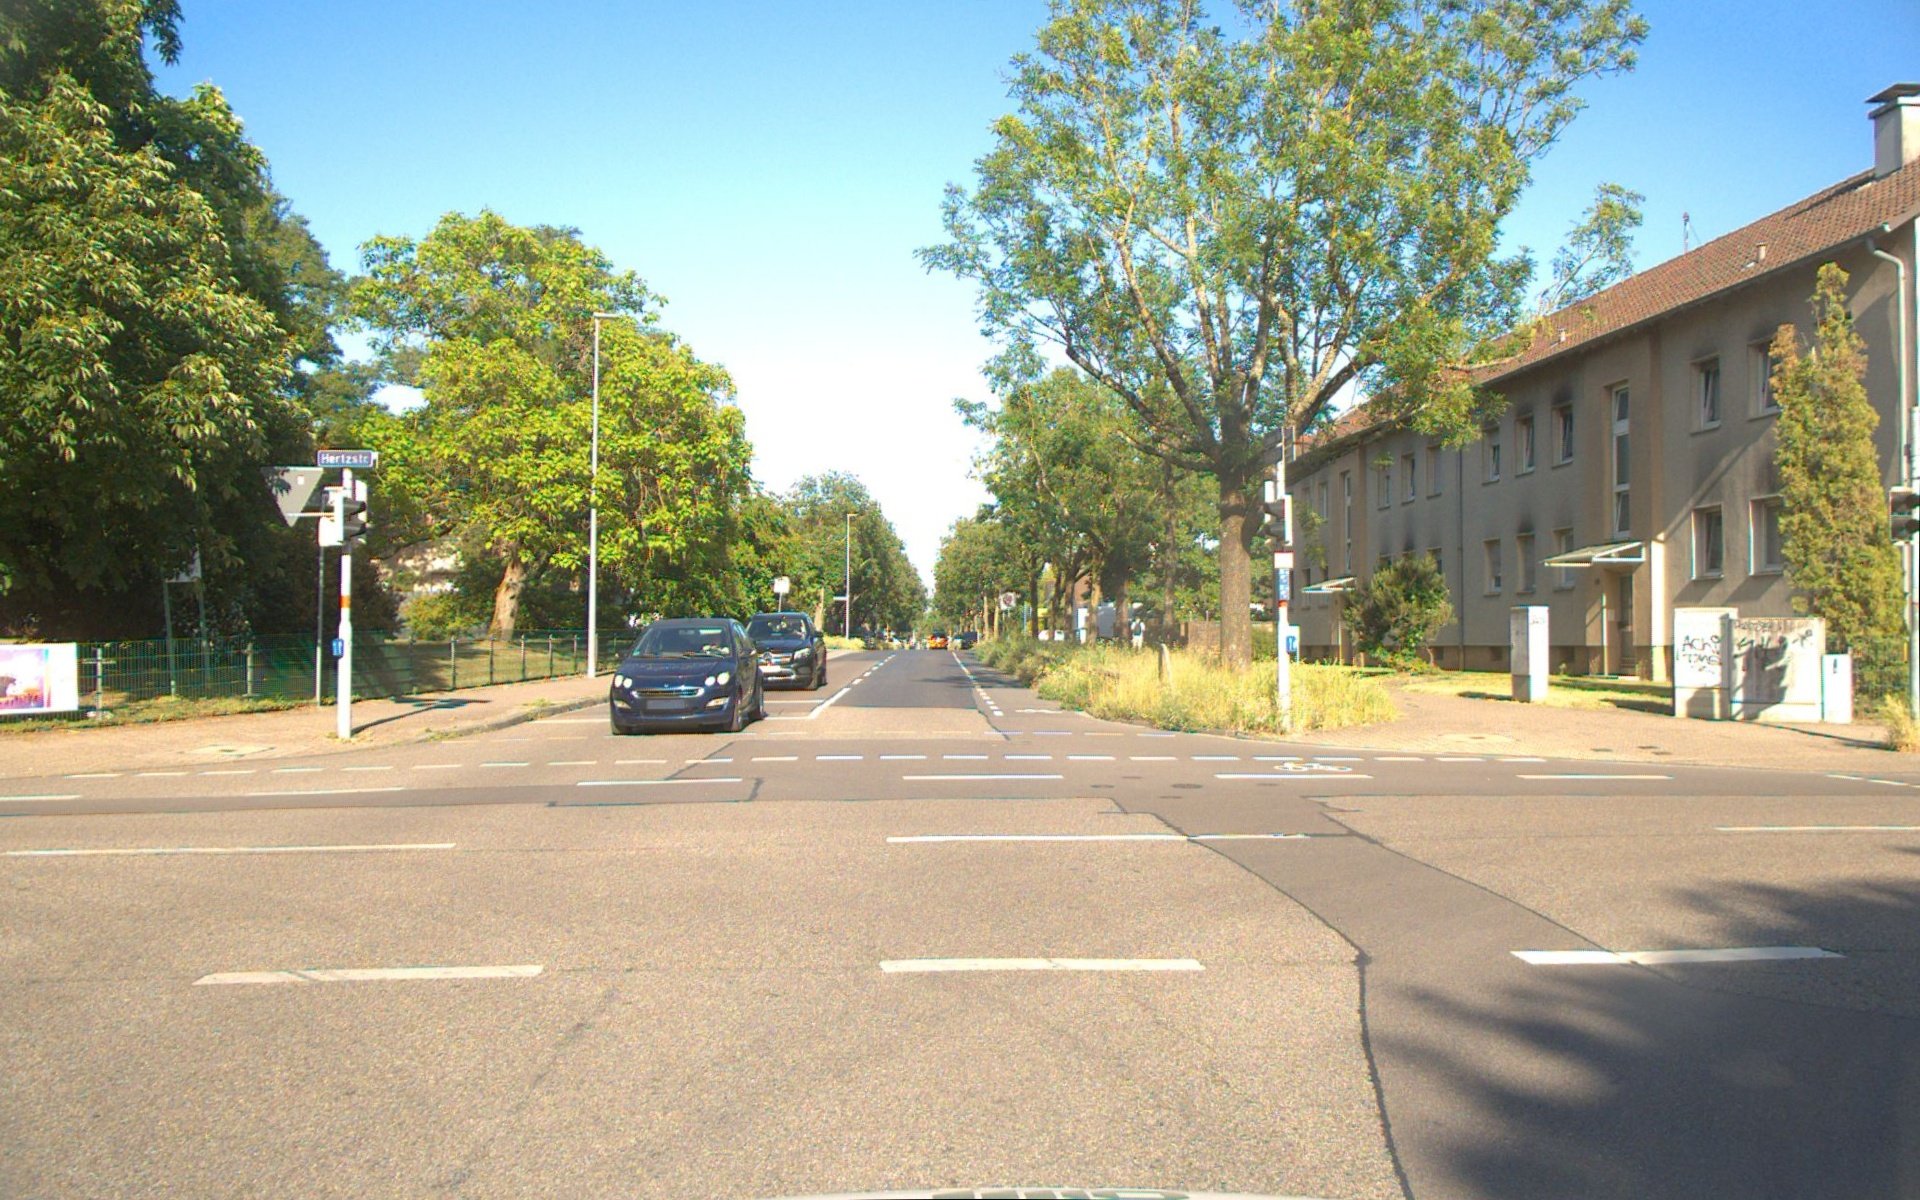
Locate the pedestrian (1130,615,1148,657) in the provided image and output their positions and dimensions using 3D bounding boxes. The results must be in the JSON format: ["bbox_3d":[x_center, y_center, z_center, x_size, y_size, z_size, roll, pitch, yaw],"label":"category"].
[{"bbox_3d":[7.595,1.538,70.104,0.624,1.735,0.612,-2,-1,-2],"label":"pedestrian"}]

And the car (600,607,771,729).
[{"bbox_3d":[-3.633,0.914,22.503,1.769,1.480,3.848,-1,-2,-2],"label":"car"}]

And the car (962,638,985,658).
[{"bbox_3d":[1.139,4.155,143.554,1.815,1.654,4.467,-1,-3,-1],"label":"car"}]

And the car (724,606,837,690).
[{"bbox_3d":[-3.773,0.989,35.505,1.777,1.646,4.393,-2,-1,2],"label":"car"}]

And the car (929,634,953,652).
[{"bbox_3d":[-1.736,3.823,146.228,1.851,1.505,3.884,2,-2,-4],"label":"car"}]

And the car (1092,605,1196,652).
[{"bbox_3d":[10.261,1.607,92.671,5.485,2.584,2.263,0,-1,-5],"label":"car"}]
